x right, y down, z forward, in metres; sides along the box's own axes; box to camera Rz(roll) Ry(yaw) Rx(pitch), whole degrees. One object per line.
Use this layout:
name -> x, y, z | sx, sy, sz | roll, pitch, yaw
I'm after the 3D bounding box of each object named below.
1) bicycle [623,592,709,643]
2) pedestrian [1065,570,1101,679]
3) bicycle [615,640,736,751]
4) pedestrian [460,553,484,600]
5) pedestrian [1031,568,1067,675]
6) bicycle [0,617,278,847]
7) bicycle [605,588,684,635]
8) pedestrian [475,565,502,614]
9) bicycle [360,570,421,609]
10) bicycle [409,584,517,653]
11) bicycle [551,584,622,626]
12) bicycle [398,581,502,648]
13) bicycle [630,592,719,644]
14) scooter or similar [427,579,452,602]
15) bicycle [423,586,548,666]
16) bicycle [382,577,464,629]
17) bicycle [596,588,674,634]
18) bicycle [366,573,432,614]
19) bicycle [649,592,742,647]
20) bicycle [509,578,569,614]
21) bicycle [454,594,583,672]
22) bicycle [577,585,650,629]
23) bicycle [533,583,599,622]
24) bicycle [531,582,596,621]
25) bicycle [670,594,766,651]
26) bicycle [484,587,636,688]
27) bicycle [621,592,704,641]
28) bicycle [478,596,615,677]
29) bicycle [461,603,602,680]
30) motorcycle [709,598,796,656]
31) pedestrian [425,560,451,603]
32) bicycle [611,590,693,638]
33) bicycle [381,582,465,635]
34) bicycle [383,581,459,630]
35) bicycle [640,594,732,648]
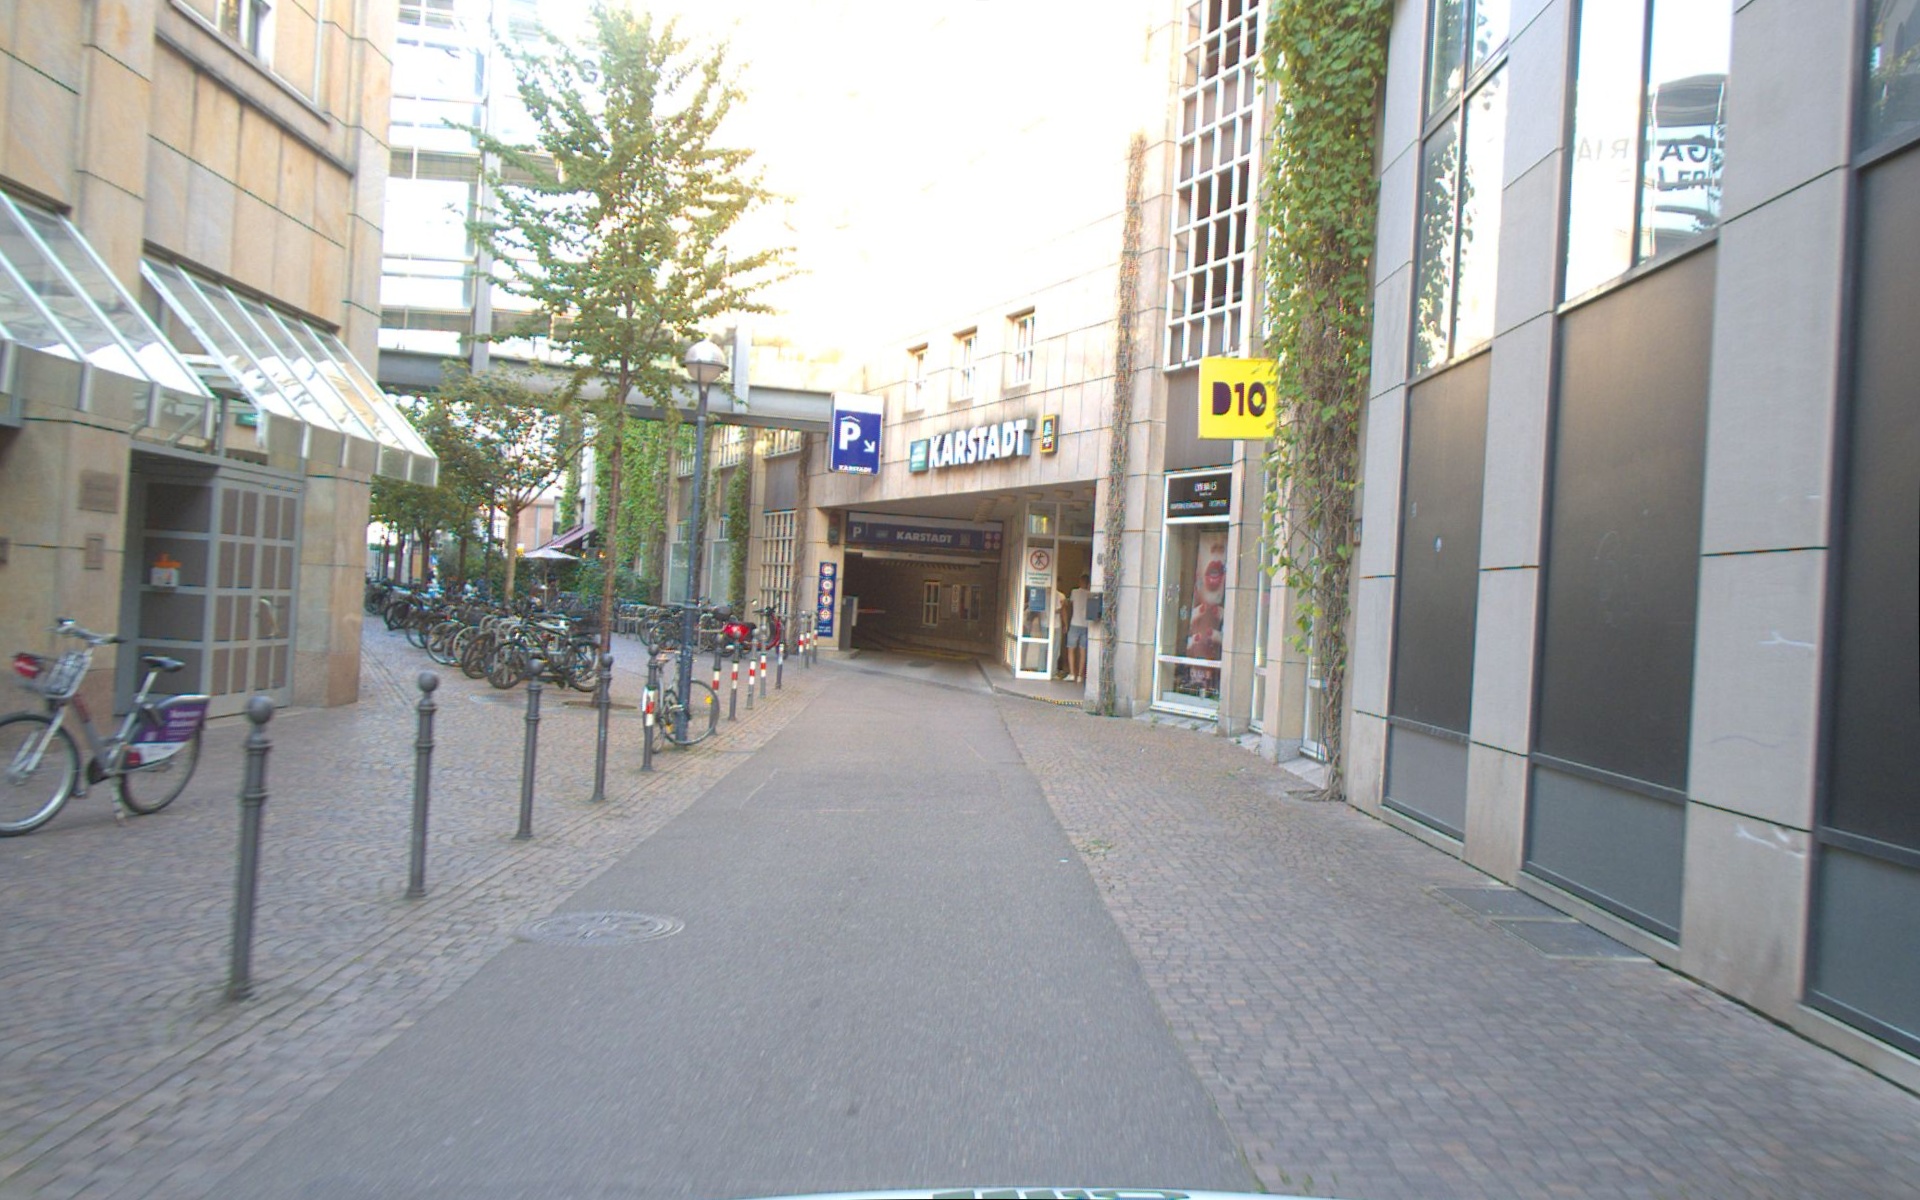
bicycle -> -7.236, 0.423, 40.745 | 1.965, 1.203, 0.798 | 1, 1, -21
pedestrian -> 2.183, 0.424, 29.425 | 0.531, 1.893, 0.409 | 3, 1, 5
bicycle -> -2.772, 0.907, 16.294 | 0.494, 0.983, 1.696 | 2, 0, 14
pedestrian -> -19.538, -0.922, 66.186 | 0.754, 1.836, 0.772 | 3, 0, -22
pedestrian -> 1.603, 0.387, 29.649 | 0.531, 1.878, 0.409 | 3, 1, 5
bicycle -> -4.727, 0.676, 9.314 | 0.679, 1.131, 1.778 | 2, 0, 14
bicycle -> -8.368, 0.313, 43.828 | 1.965, 1.203, 0.690 | 1, 1, -21
pedestrian -> -15.326, -0.339, 53.768 | 0.738, 1.535, 0.633 | 3, 0, -23
bicycle -> -19.292, -0.363, 56.054 | 1.883, 1.203, 0.692 | 3, 0, -18
bicycle -> -9.407, 0.341, 31.349 | 1.883, 1.203, 0.692 | 3, 0, -18
bicycle -> -11.073, 0.142, 49.018 | 1.965, 1.203, 0.690 | 1, 1, -21
bicycle -> -9.978, 0.286, 32.379 | 1.883, 1.203, 0.692 | 3, 0, -18
bicycle -> -6.783, 0.426, 39.300 | 1.965, 1.203, 0.798 | 1, 1, -21
scooter or similar -> -20.827, -0.382, 66.187 | 0.879, 0.858, 0.905 | 3, 0, -22
bicycle -> -7.725, 0.422, 26.953 | 1.883, 1.203, 0.692 | 3, 0, -18
bicycle -> -13.479, 0.084, 41.571 | 1.883, 1.203, 0.692 | 3, 0, -18
bicycle -> -8.821, 0.294, 44.891 | 1.965, 1.203, 0.690 | 1, 1, -21
bicycle -> -17.663, -0.199, 52.116 | 1.883, 1.203, 0.692 | 3, 0, -18
bicycle -> -5.963, 0.445, 37.269 | 1.965, 1.203, 0.692 | 1, 1, -21
bicycle -> -14.773, -0.131, 58.085 | 1.965, 1.203, 0.690 | 1, 1, -21
bicycle -> -6.961, 0.516, 26.069 | 1.883, 1.121, 0.692 | 3, 0, -18
bicycle -> -9.891, 0.191, 47.228 | 1.965, 1.203, 0.690 | 1, 1, -21
bicycle -> -12.575, 0.088, 52.834 | 1.965, 1.203, 0.690 | 1, 1, -21
bicycle -> -12.857, 0.058, 53.638 | 1.965, 1.203, 0.690 | 1, 1, -21
bicycle -> -5.333, 0.496, 36.458 | 1.965, 1.203, 0.692 | 1, 1, -21
bicycle -> -5.461, 0.512, 22.583 | 1.885, 1.283, 0.803 | 3, 0, -21
bicycle -> -7.505, 0.415, 41.727 | 1.965, 1.203, 0.690 | 1, 1, -21
bicycle -> -6.224, 0.547, 24.898 | 1.886, 1.121, 0.692 | 3, 0, -21
bicycle -> -6.214, 0.597, 23.979 | 1.886, 1.011, 0.692 | 3, 0, -21
motorcycle -> -4.360, 0.570, 34.804 | 1.719, 1.175, 0.591 | 1, 0, -18
pedestrian -> -21.152, -0.750, 67.037 | 0.879, 1.668, 0.905 | 3, 0, -22
bicycle -> -7.936, 0.359, 42.600 | 1.965, 1.203, 0.690 | 1, 1, -21
bicycle -> -13.200, 0.202, 40.702 | 1.883, 1.203, 0.692 | 3, 0, -18
bicycle -> -14.435, 0.142, 44.320 | 1.883, 1.203, 0.692 | 3, 0, -18
bicycle -> -6.323, 0.485, 38.177 | 1.965, 1.203, 0.798 | 1, 1, -21
